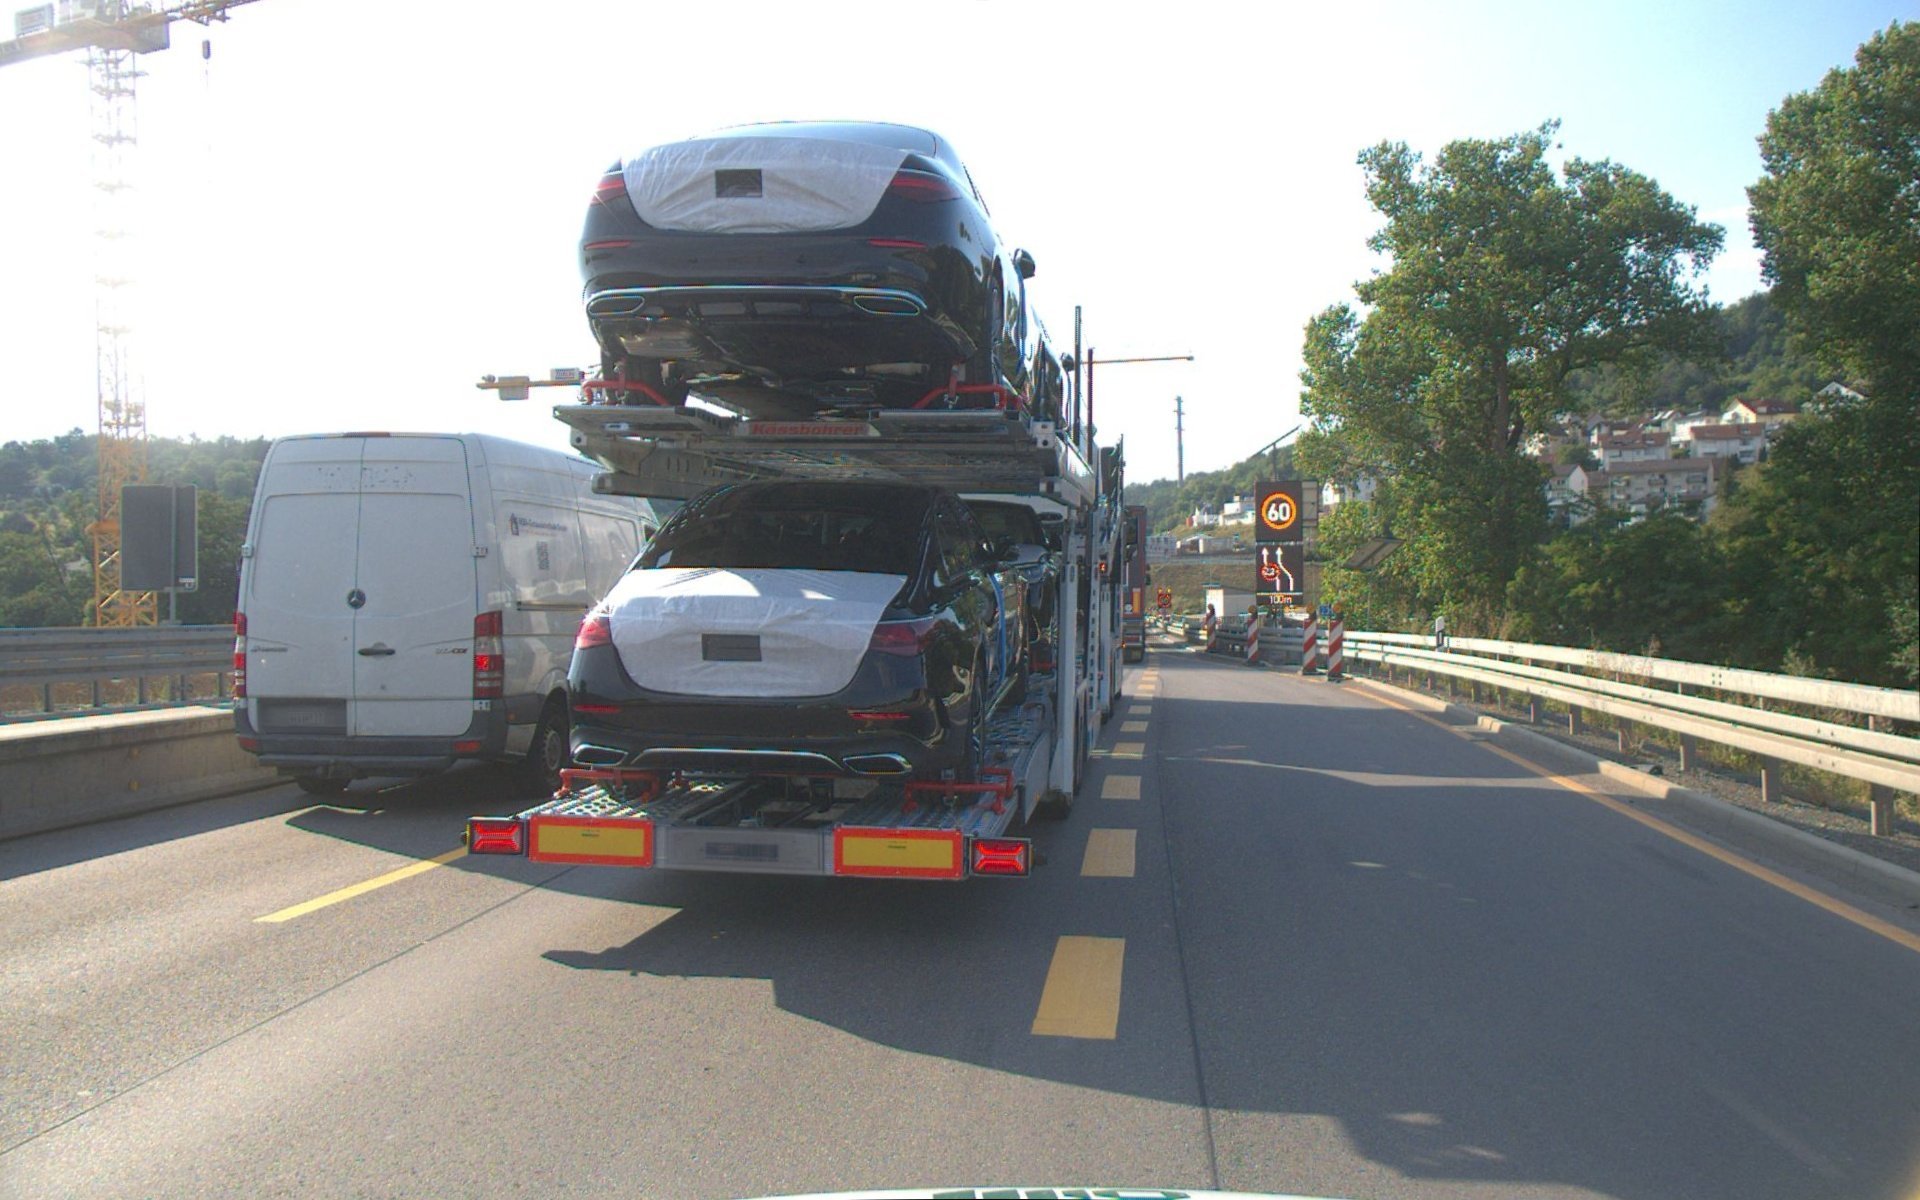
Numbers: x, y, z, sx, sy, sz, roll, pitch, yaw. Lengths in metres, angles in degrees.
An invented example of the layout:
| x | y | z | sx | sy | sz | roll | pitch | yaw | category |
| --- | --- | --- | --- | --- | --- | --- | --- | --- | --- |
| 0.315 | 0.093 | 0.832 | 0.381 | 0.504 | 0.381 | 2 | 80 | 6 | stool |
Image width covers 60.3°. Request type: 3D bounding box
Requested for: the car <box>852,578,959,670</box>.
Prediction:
| x | y | z | sx | sy | sz | roll | pitch | yaw | category |
| --- | --- | --- | --- | --- | --- | --- | --- | --- | --- |
| -1.106 | 0.483 | 35.419 | 1.791 | 1.783 | 4.002 | -2 | 0 | 4 | car |

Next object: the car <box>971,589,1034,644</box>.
| x | y | z | sx | sy | sz | roll | pitch | yaw | category |
| --- | --- | --- | --- | --- | --- | --- | --- | --- | --- |
| 1.428 | 0.519 | 53.919 | 1.791 | 1.683 | 4.002 | -2 | 0 | 4 | car |

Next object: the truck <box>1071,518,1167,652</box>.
| x | y | z | sx | sy | sz | roll | pitch | yaw | category |
| --- | --- | --- | --- | --- | --- | --- | --- | --- | --- |
| 5.259 | -0.450 | 53.909 | 2.823 | 4.066 | 6.630 | -1 | 0 | 7 | truck |

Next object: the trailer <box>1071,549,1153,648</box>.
| x | y | z | sx | sy | sz | roll | pitch | yaw | category |
| --- | --- | --- | --- | --- | --- | --- | --- | --- | --- |
| 7.109 | -0.072 | 75.961 | 3.313 | 4.066 | 14.755 | -1 | 0 | 6 | trailer |

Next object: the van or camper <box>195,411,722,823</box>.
| x | y | z | sx | sy | sz | roll | pitch | yaw | category |
| --- | --- | --- | --- | --- | --- | --- | --- | --- | --- |
| -3.726 | 0.110 | 13.765 | 1.951 | 2.666 | 5.908 | 0 | 0 | 7 | van or camper |

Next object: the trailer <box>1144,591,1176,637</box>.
| x | y | z | sx | sy | sz | roll | pitch | yaw | category |
| --- | --- | --- | --- | --- | --- | --- | --- | --- | --- |
| 20.242 | 1.380 | 168.032 | 3.037 | 4.389 | 14.262 | -1 | 0 | 6 | trailer |

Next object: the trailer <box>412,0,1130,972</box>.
| x | y | z | sx | sy | sz | roll | pitch | yaw | category |
| --- | --- | --- | --- | --- | --- | --- | --- | --- | --- |
| -0.002 | -0.540 | 14.567 | 2.796 | 4.066 | 15.757 | -1 | 0 | 6 | trailer |

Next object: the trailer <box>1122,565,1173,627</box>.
| x | y | z | sx | sy | sz | roll | pitch | yaw | category |
| --- | --- | --- | --- | --- | --- | --- | --- | --- | --- |
| 13.175 | -0.253 | 116.560 | 3.313 | 4.066 | 14.755 | -1 | 0 | 6 | trailer |

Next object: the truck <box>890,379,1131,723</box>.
| x | y | z | sx | sy | sz | roll | pitch | yaw | category |
| --- | --- | --- | --- | --- | --- | --- | --- | --- | --- |
| 0.931 | -0.576 | 23.077 | 2.788 | 4.066 | 6.629 | -1 | 0 | 6 | truck |

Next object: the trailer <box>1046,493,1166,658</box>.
| x | y | z | sx | sy | sz | roll | pitch | yaw | category |
| --- | --- | --- | --- | --- | --- | --- | --- | --- | --- |
| 4.410 | -0.635 | 47.944 | 2.896 | 4.163 | 10.801 | -2 | 0 | 7 | trailer |

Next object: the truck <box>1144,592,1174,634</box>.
| x | y | z | sx | sy | sz | roll | pitch | yaw | category |
| --- | --- | --- | --- | --- | --- | --- | --- | --- | --- |
| 21.009 | 1.369 | 174.730 | 3.032 | 4.360 | 6.629 | -1 | 0 | 6 | truck |

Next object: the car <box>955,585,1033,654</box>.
| x | y | z | sx | sy | sz | roll | pitch | yaw | category |
| --- | --- | --- | --- | --- | --- | --- | --- | --- | --- |
| 0.950 | 0.500 | 44.154 | 1.791 | 1.683 | 4.002 | -2 | 0 | 4 | car |
